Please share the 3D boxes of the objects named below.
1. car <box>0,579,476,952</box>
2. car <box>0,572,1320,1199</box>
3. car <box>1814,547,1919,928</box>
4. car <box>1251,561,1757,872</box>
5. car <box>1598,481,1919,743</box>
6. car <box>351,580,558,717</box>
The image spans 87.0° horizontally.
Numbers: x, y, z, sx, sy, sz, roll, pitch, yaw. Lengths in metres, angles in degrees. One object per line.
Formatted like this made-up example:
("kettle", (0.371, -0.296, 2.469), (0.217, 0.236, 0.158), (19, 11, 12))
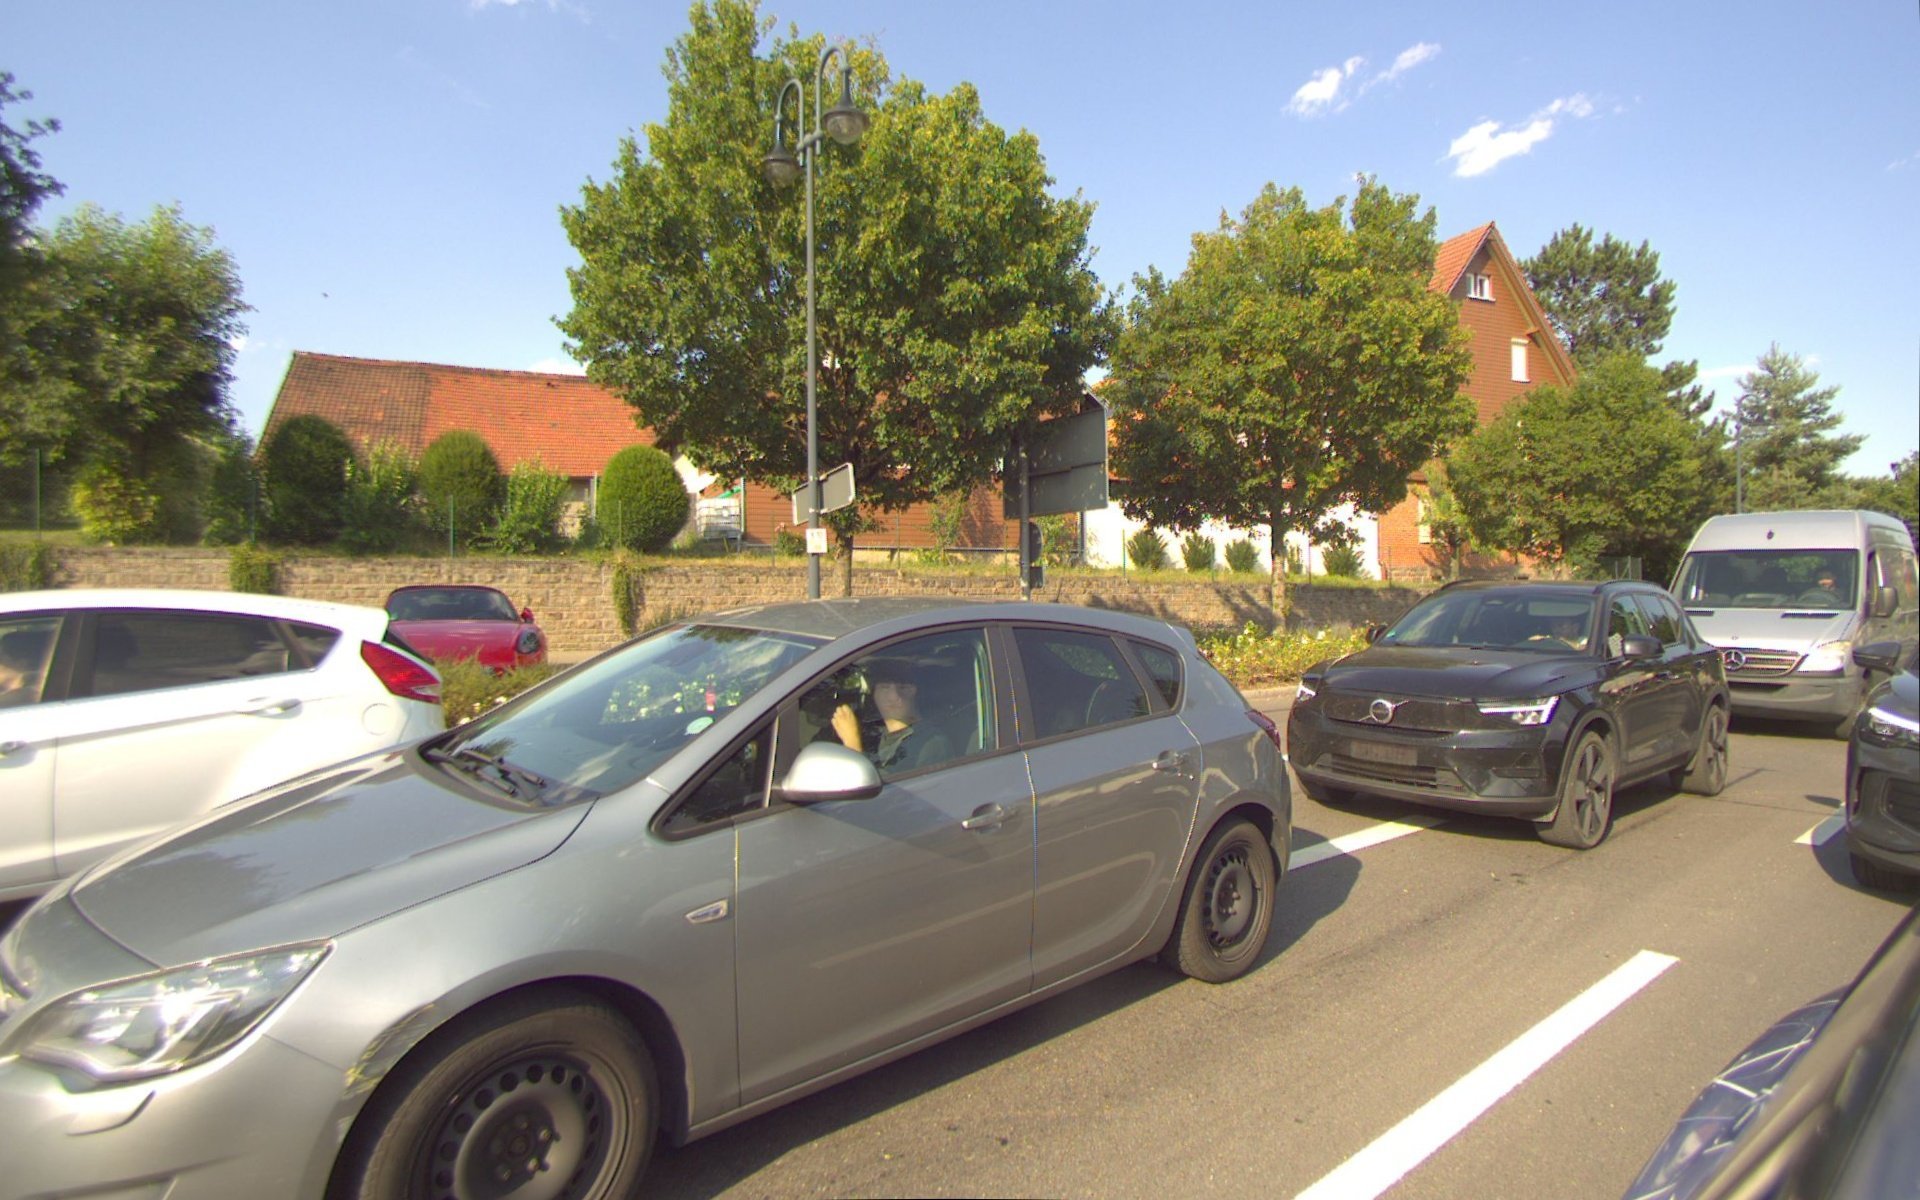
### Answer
("car", (-4.524, 0.645, 4.481), (3.998, 1.469, 1.731), (0, 0, -42))
("car", (-0.609, 0.674, 3.494), (4.095, 1.460, 1.746), (0, 0, -41))
("car", (6.367, 0.598, 5.506), (4.646, 1.677, 1.893), (0, 0, -40))
("car", (4.091, 0.593, 7.339), (4.054, 1.629, 1.885), (0, 0, -40))
("car", (10.527, 0.097, 12.866), (6.082, 2.579, 2.369), (0, 0, -40))
("car", (-5.826, 0.444, 11.682), (1.816, 1.288, 4.005), (0, 0, -28))
